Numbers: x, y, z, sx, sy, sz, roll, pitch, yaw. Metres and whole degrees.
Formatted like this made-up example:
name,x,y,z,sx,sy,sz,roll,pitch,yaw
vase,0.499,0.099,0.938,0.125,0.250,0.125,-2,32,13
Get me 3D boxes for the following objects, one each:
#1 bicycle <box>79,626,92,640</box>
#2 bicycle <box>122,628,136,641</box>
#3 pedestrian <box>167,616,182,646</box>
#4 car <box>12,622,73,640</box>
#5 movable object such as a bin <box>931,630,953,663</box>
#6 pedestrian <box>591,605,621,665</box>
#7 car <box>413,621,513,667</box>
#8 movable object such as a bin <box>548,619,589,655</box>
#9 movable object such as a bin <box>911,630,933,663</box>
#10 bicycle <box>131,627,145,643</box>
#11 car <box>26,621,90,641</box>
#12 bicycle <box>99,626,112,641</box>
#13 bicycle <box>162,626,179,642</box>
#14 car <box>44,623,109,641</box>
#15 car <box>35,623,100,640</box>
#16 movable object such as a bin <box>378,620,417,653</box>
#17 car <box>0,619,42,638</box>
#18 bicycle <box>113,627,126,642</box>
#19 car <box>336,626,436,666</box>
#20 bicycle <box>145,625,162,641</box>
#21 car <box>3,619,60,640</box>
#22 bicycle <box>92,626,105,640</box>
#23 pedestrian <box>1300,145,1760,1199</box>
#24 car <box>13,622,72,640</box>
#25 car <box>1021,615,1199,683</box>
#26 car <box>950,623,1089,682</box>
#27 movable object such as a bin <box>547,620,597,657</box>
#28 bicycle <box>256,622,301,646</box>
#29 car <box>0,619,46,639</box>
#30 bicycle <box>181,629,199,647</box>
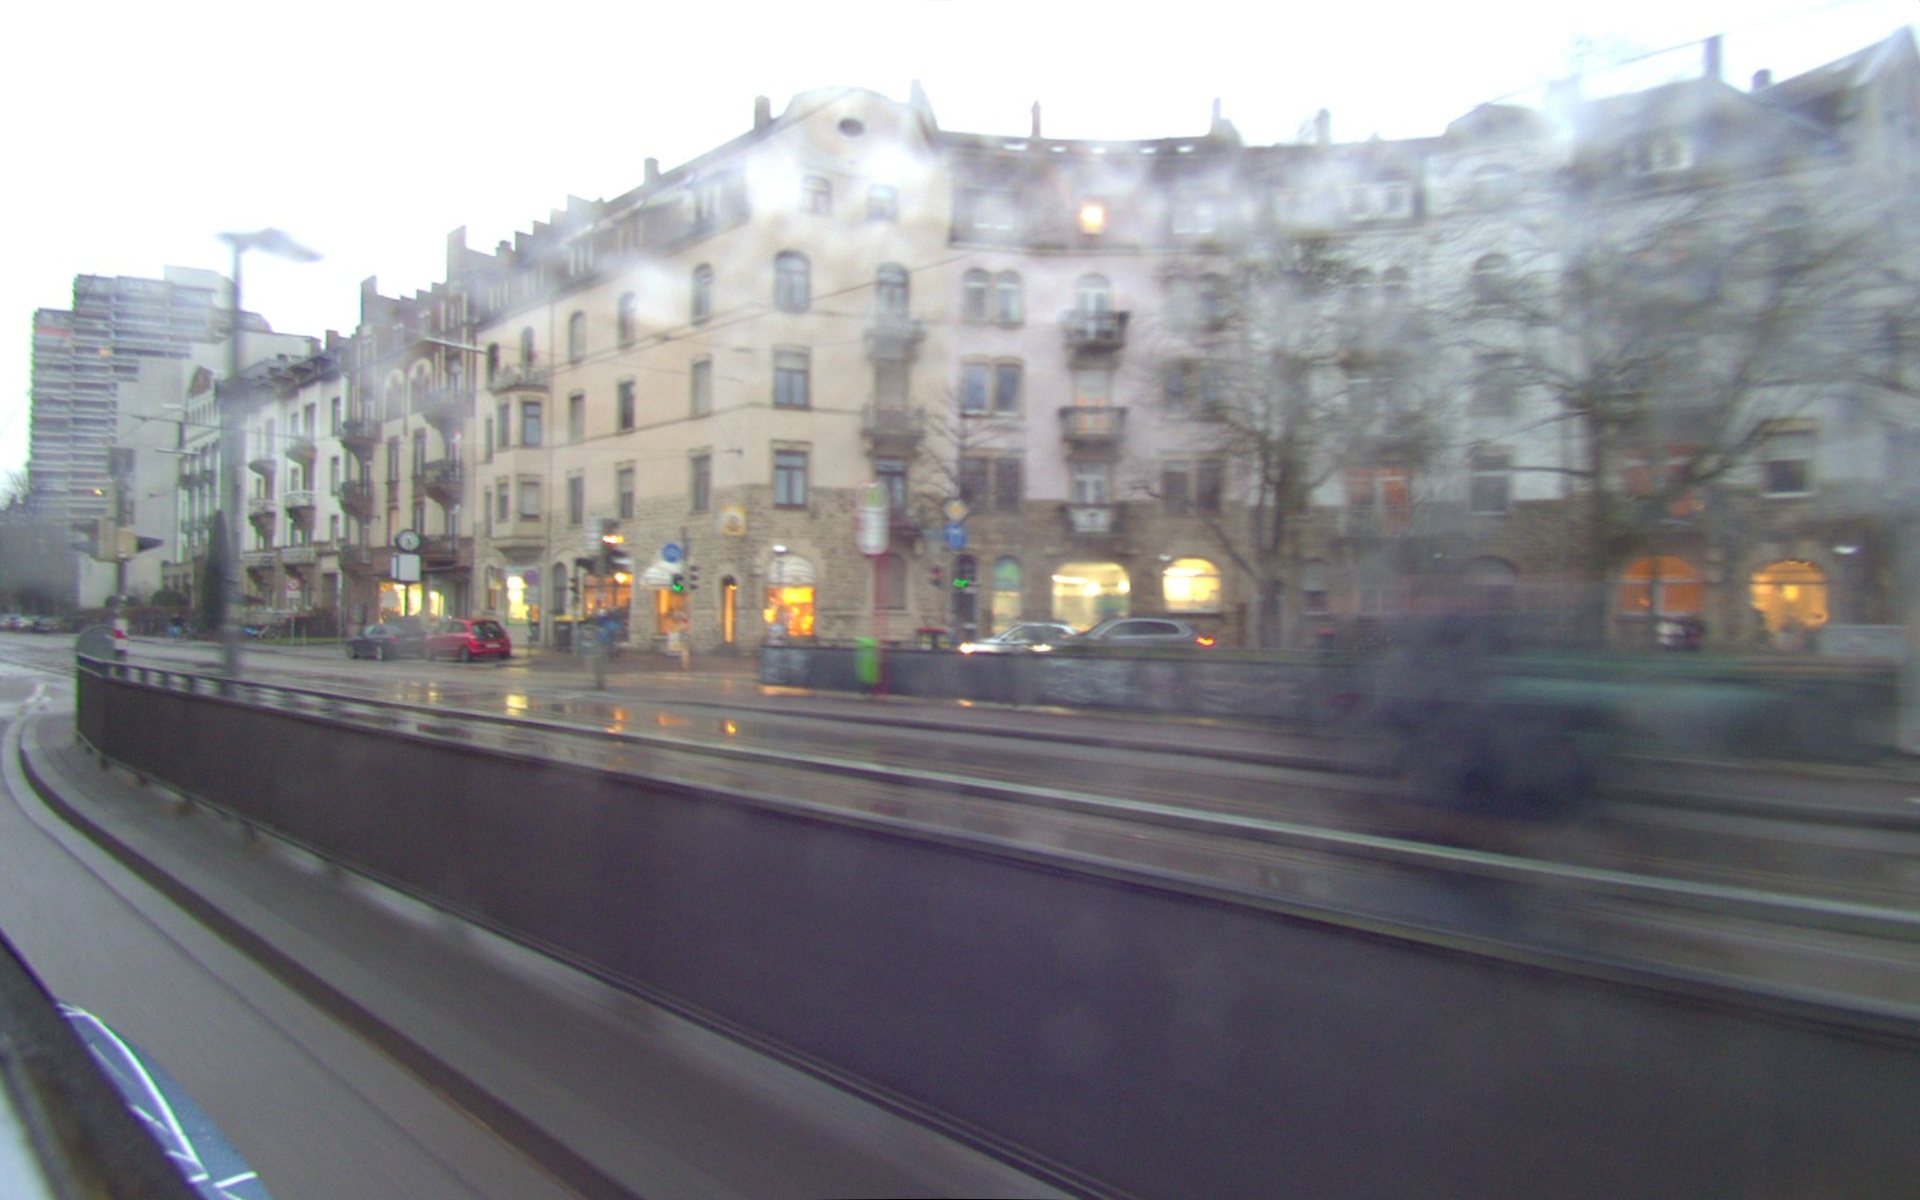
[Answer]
name,x,y,z,sx,sy,sz,roll,pitch,yaw
bicycle,-66.849,2.523,77.344,1.880,1.014,0.463,-1,1,42
bicycle,-55.844,2.335,68.008,1.767,0.838,0.437,-1,1,42
pedestrian,-44.691,1.766,57.591,0.449,1.654,0.566,-1,1,42
car,-80.538,2.733,88.851,1.726,1.424,3.791,-1,0,41
movable object such as a bin,-0.619,1.608,35.397,0.638,1.144,0.655,1,-2,-13
pedestrian,-11.563,1.131,33.053,0.784,1.892,0.897,-2,1,-14
car,-18.133,1.567,36.885,3.670,1.527,1.658,-1,1,34
movable object such as a bin,-15.935,1.496,41.187,1.273,1.382,0.992,-1,1,39
movable object such as a bin,-1.322,1.606,35.286,0.638,1.144,0.694,1,-2,-13
bicycle,-54.361,2.308,66.953,1.712,1.014,0.429,-1,1,42
car,-75.955,2.580,85.265,1.726,1.424,3.791,-1,1,41
bicycle,-61.544,2.392,72.858,1.880,1.014,0.429,-1,1,42
bicycle,-47.745,2.070,61.208,2.210,0.896,0.523,-1,1,45
car,-71.557,2.579,81.981,1.726,1.424,3.790,-1,-1,41
car,-73.703,2.600,83.581,1.726,1.424,3.790,-1,-2,41
movable object such as a bin,-25.721,1.647,46.258,1.073,1.442,1.224,-1,1,39
car,-93.837,2.838,100.475,1.726,1.730,3.791,-1,1,41
bicycle,-57.559,2.348,69.336,1.604,1.014,0.429,-1,1,42
car,-22.702,1.777,40.000,4.501,1.400,1.785,-1,1,37
bicycle,-51.694,2.118,64.840,2.208,1.014,0.478,-1,1,42
car,-88.410,2.800,96.406,1.726,1.730,3.791,-2,1,41
bicycle,-63.102,2.395,74.125,1.880,1.014,0.429,-1,1,42
pedestrian,1.108,0.350,1.908,0.570,1.970,0.845,-1,1,41
car,-83.560,2.799,92.226,1.726,1.424,3.791,-1,1,41
car,3.910,1.255,26.790,4.276,1.595,1.940,-1,0,-7
car,1.697,1.515,29.628,3.766,1.483,1.617,-2,1,-8
movable object such as a bin,-15.278,1.503,39.847,1.280,1.382,1.336,-1,1,39
bicycle,-37.828,1.875,56.218,0.531,1.167,1.965,-1,1,39
car,-90.951,2.816,97.765,1.726,1.730,3.791,-1,1,41
bicycle,-44.161,2.174,58.008,2.087,0.947,0.523,-1,1,45
